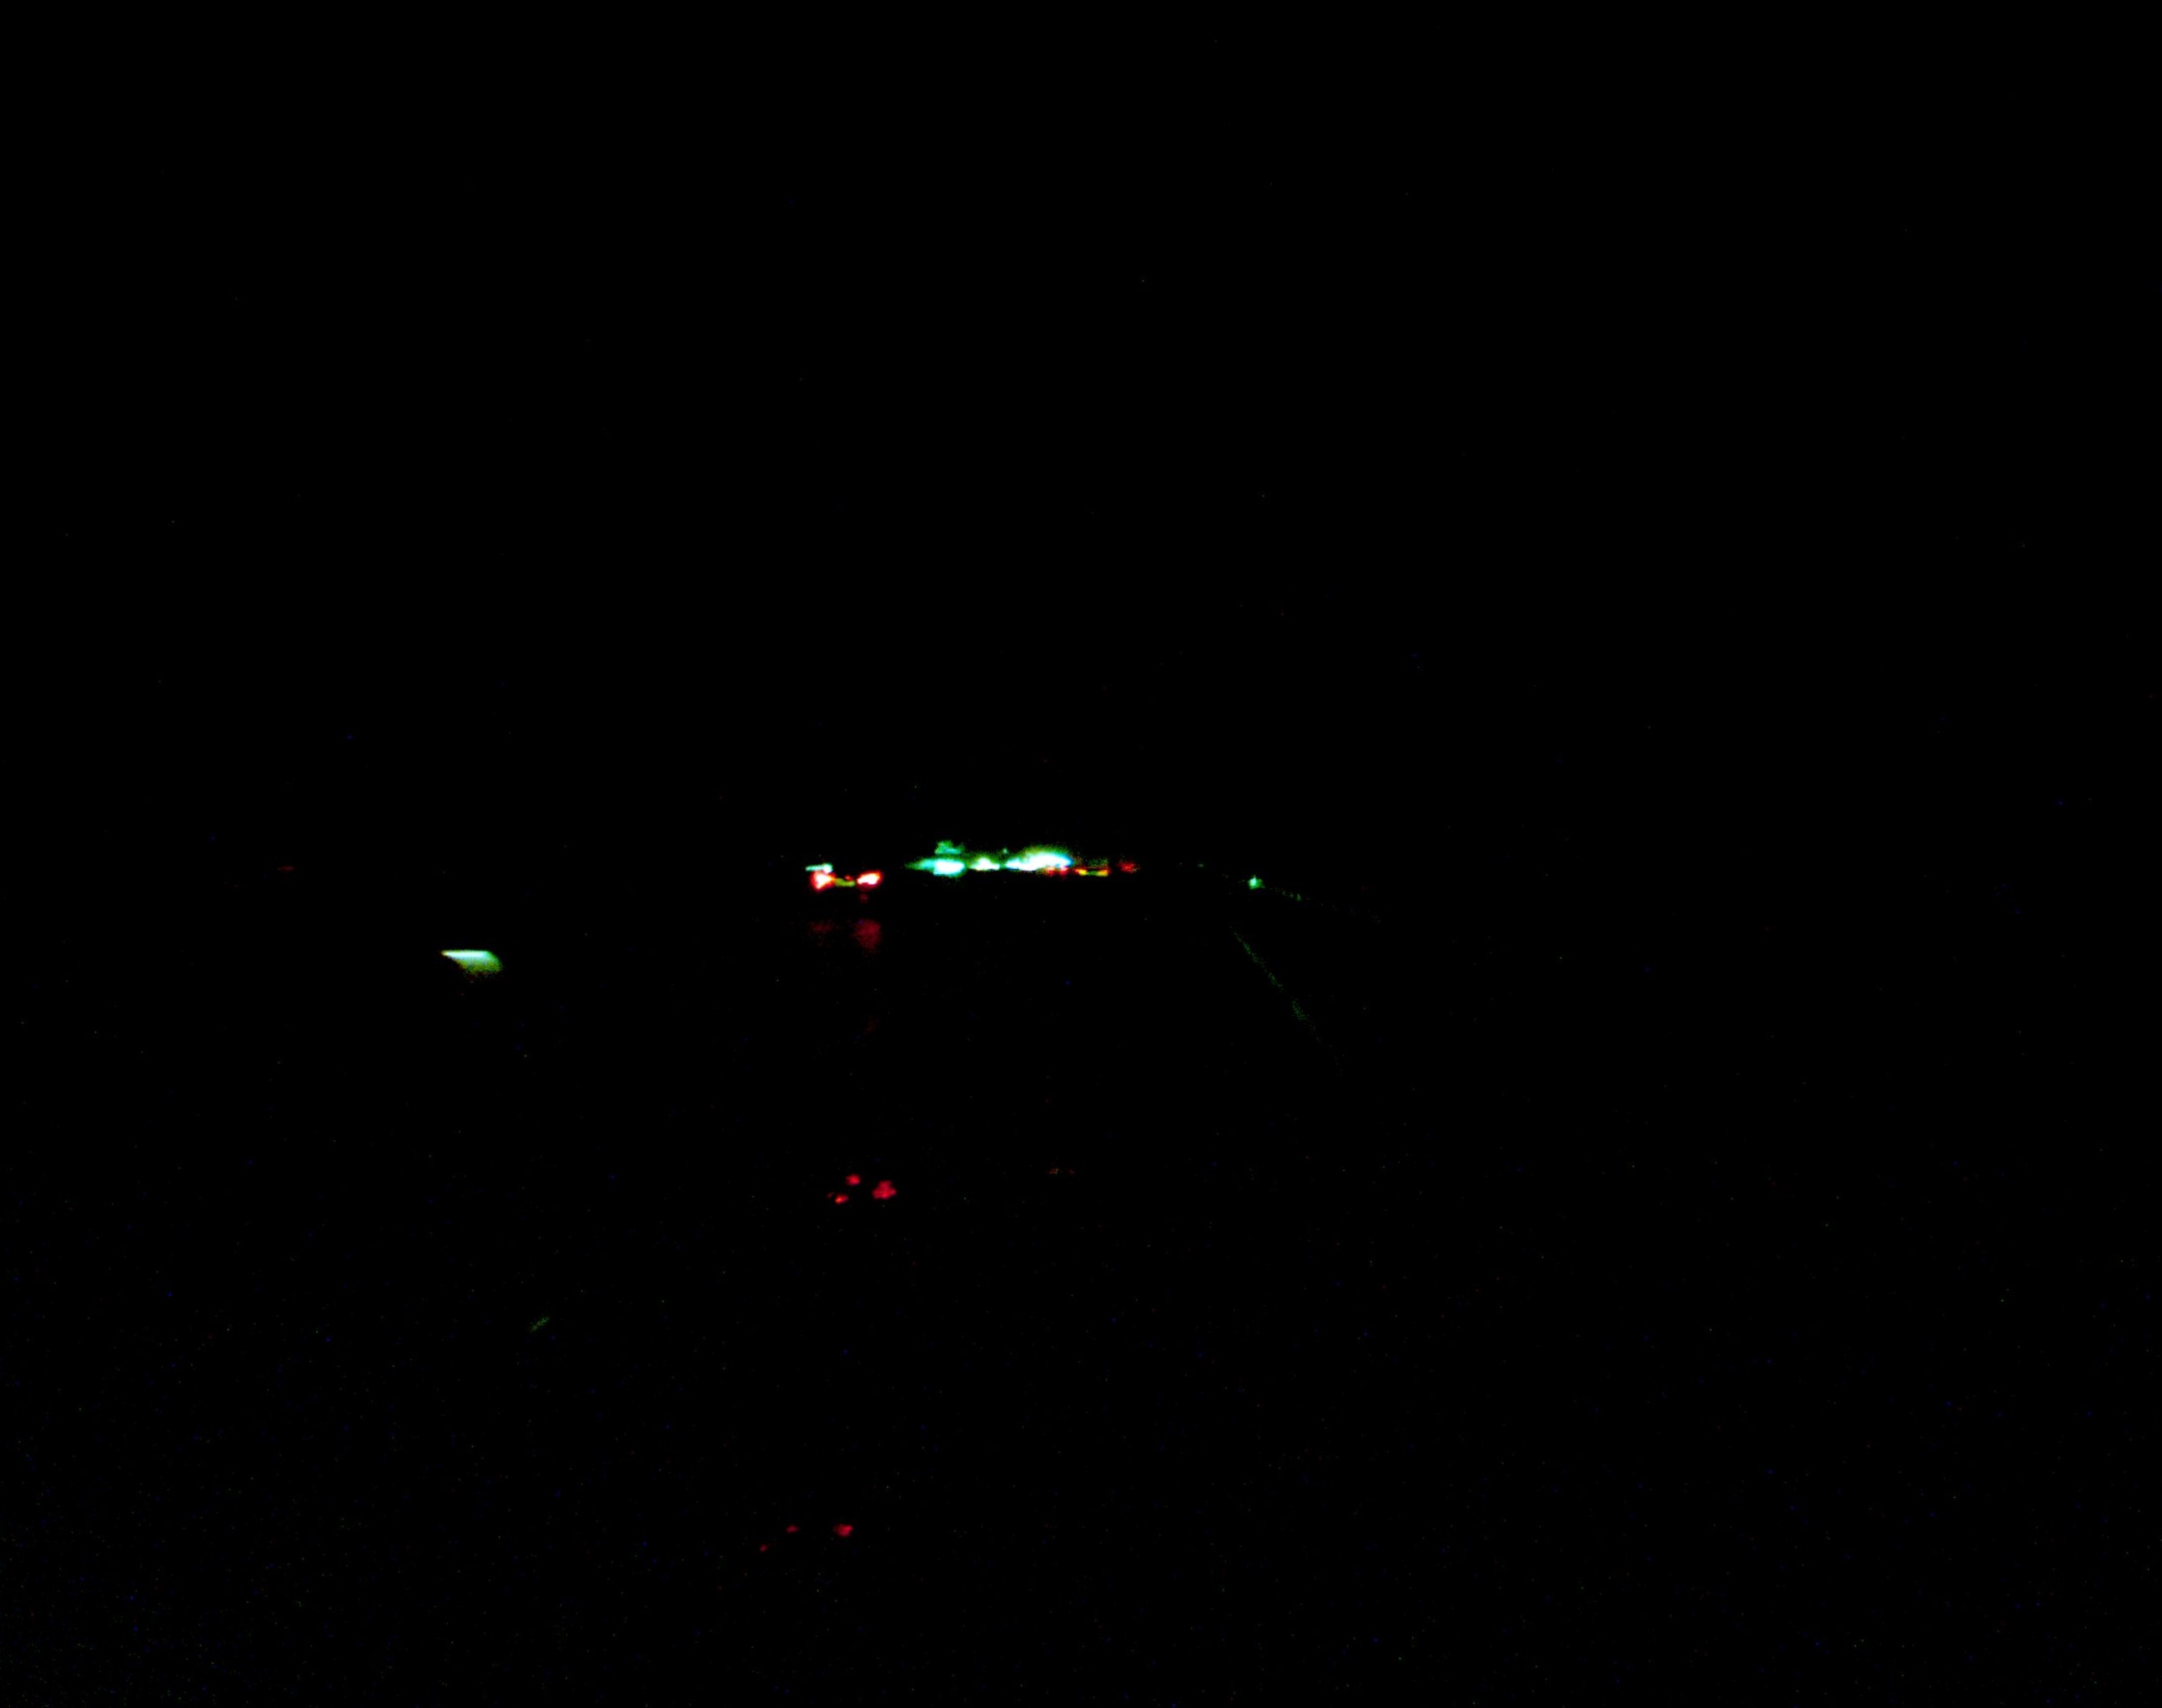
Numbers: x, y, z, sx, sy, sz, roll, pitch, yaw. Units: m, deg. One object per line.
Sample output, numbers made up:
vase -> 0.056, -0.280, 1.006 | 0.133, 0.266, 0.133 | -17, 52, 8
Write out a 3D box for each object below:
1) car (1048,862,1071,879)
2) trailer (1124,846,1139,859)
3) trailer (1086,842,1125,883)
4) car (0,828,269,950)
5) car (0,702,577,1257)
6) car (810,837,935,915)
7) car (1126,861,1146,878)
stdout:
car -> -2.233, 1.686, 85.715 | 1.985, 1.618, 4.003 | 3, 0, 3
trailer -> 12.865, -0.336, 205.866 | 2.672, 2.699, 12.887 | 3, 0, 9
trailer -> 2.720, 0.899, 83.930 | 2.578, 3.725, 13.678 | 3, 0, 7
car -> -18.931, 0.587, 15.467 | 1.982, 2.013, 4.578 | 3, 0, 9
car -> -4.873, 0.458, 3.275 | 1.982, 2.014, 5.029 | 0, -1, 9
car -> -6.043, 0.617, 24.262 | 1.983, 2.013, 4.575 | 3, 0, 6
car -> 6.536, 1.808, 96.109 | 1.982, 1.818, 4.009 | 3, 0, 8
